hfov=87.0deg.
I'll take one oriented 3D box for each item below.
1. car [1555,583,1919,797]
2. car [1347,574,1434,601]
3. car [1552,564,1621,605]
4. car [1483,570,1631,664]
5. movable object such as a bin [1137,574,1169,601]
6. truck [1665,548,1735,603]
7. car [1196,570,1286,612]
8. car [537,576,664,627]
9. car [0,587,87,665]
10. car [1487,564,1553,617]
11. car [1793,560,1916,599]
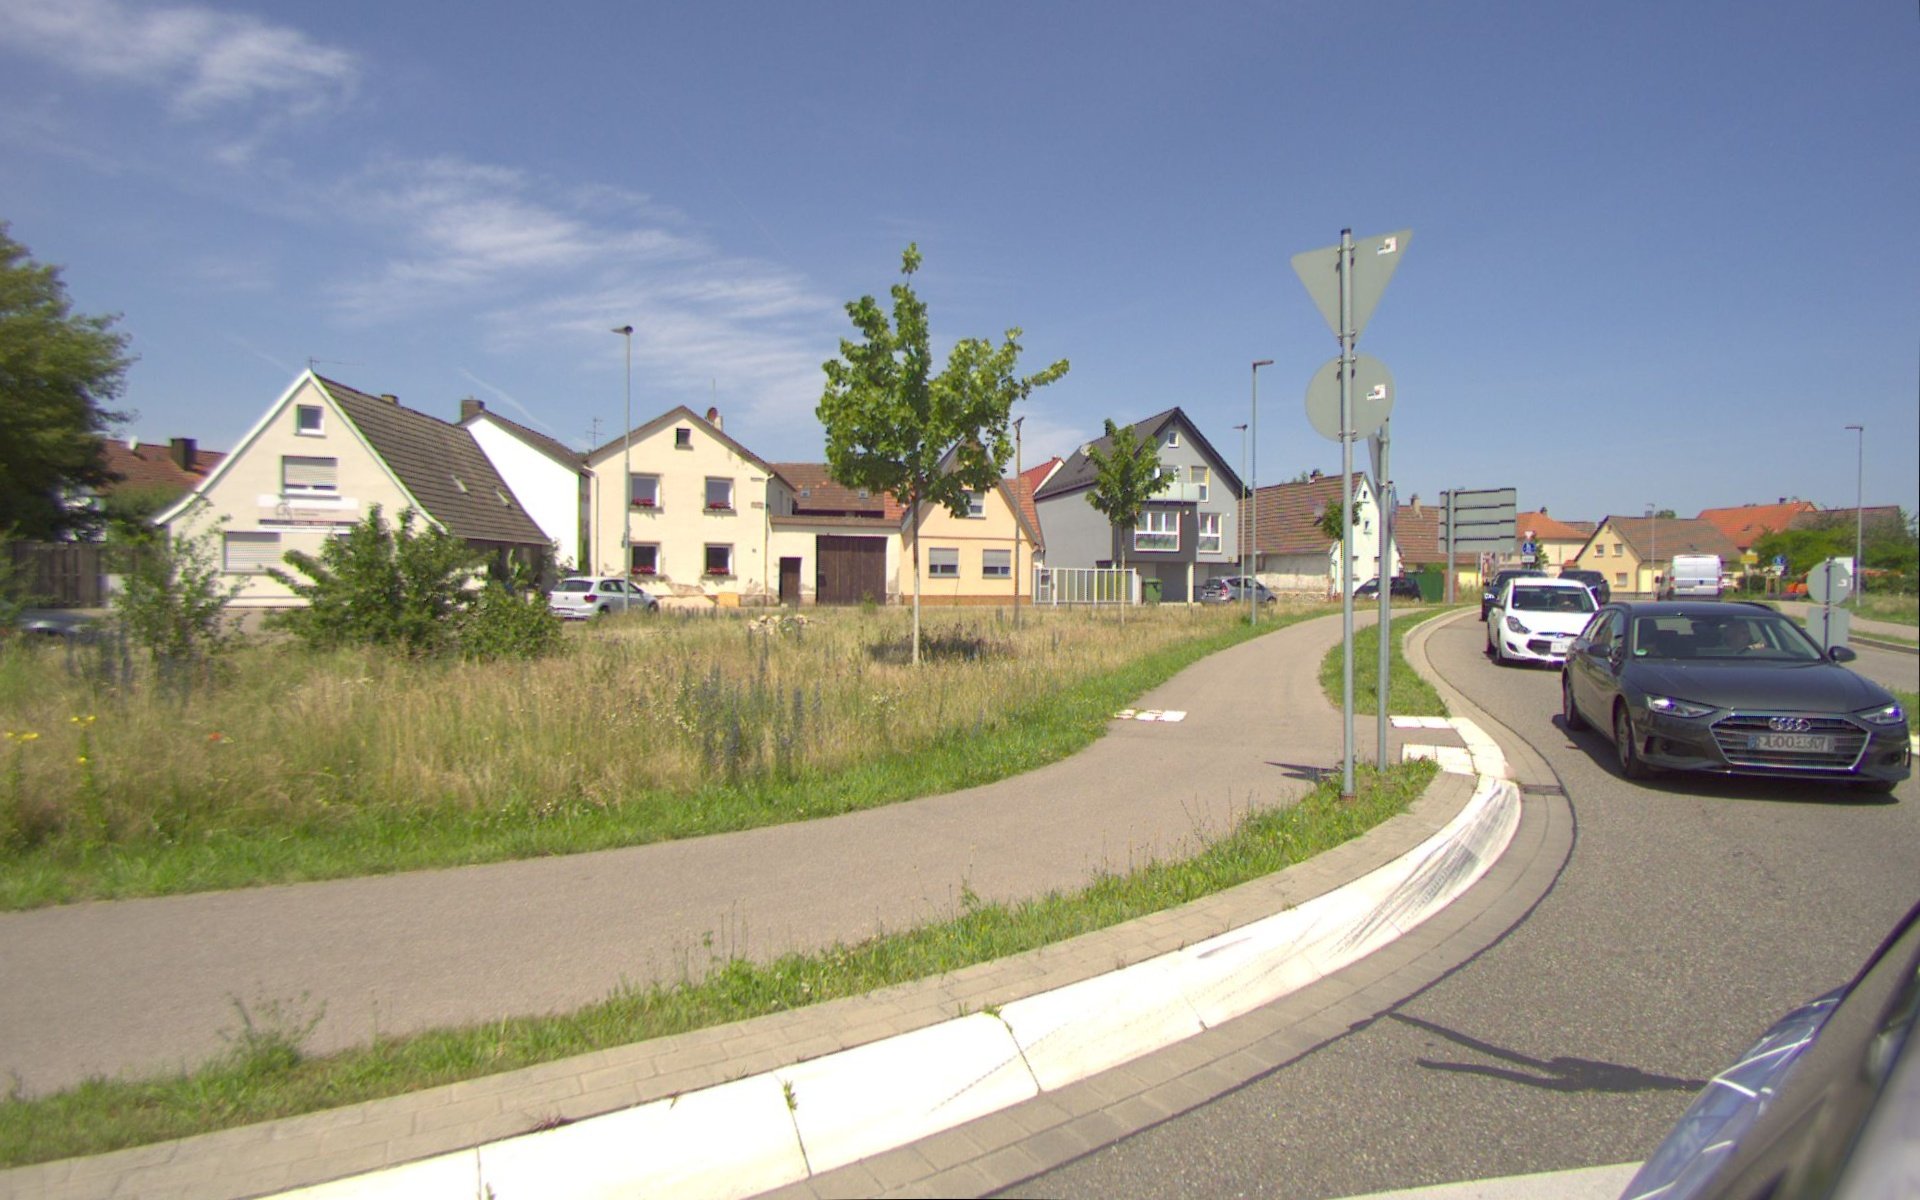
[{"bbox_3d":[6.957,0.616,9.387,1.848,1.452,4.486,-2,0,23],"label":"car"},{"bbox_3d":[21.951,-0.659,51.704,3.688,1.368,1.858,0,1,-13],"label":"car"},{"bbox_3d":[26.040,-0.655,42.007,1.860,1.581,4.658,0,1,39],"label":"car"},{"bbox_3d":[11.315,0.239,19.475,1.848,1.581,4.486,0,1,23],"label":"car"},{"bbox_3d":[10.003,-0.646,52.480,1.178,1.407,1.088,0,1,-27],"label":"movable object such as a bin"},{"bbox_3d":[36.087,-1.204,49.507,2.219,2.537,5.575,1,1,31],"label":"truck"},{"bbox_3d":[13.134,-0.441,47.294,3.920,1.853,1.856,-1,1,-31],"label":"car"},{"bbox_3d":[-10.541,-0.009,29.945,1.627,1.410,3.983,0,1,14],"label":"car"},{"bbox_3d":[-17.923,0.453,17.601,3.923,1.327,1.748,-1,1,-34],"label":"car"},{"bbox_3d":[18.018,-0.322,32.490,1.708,1.581,4.106,0,1,31],"label":"car"},{"bbox_3d":[62.395,-1.438,70.777,2.307,2.616,6.150,0,1,-15],"label":"car"}]
